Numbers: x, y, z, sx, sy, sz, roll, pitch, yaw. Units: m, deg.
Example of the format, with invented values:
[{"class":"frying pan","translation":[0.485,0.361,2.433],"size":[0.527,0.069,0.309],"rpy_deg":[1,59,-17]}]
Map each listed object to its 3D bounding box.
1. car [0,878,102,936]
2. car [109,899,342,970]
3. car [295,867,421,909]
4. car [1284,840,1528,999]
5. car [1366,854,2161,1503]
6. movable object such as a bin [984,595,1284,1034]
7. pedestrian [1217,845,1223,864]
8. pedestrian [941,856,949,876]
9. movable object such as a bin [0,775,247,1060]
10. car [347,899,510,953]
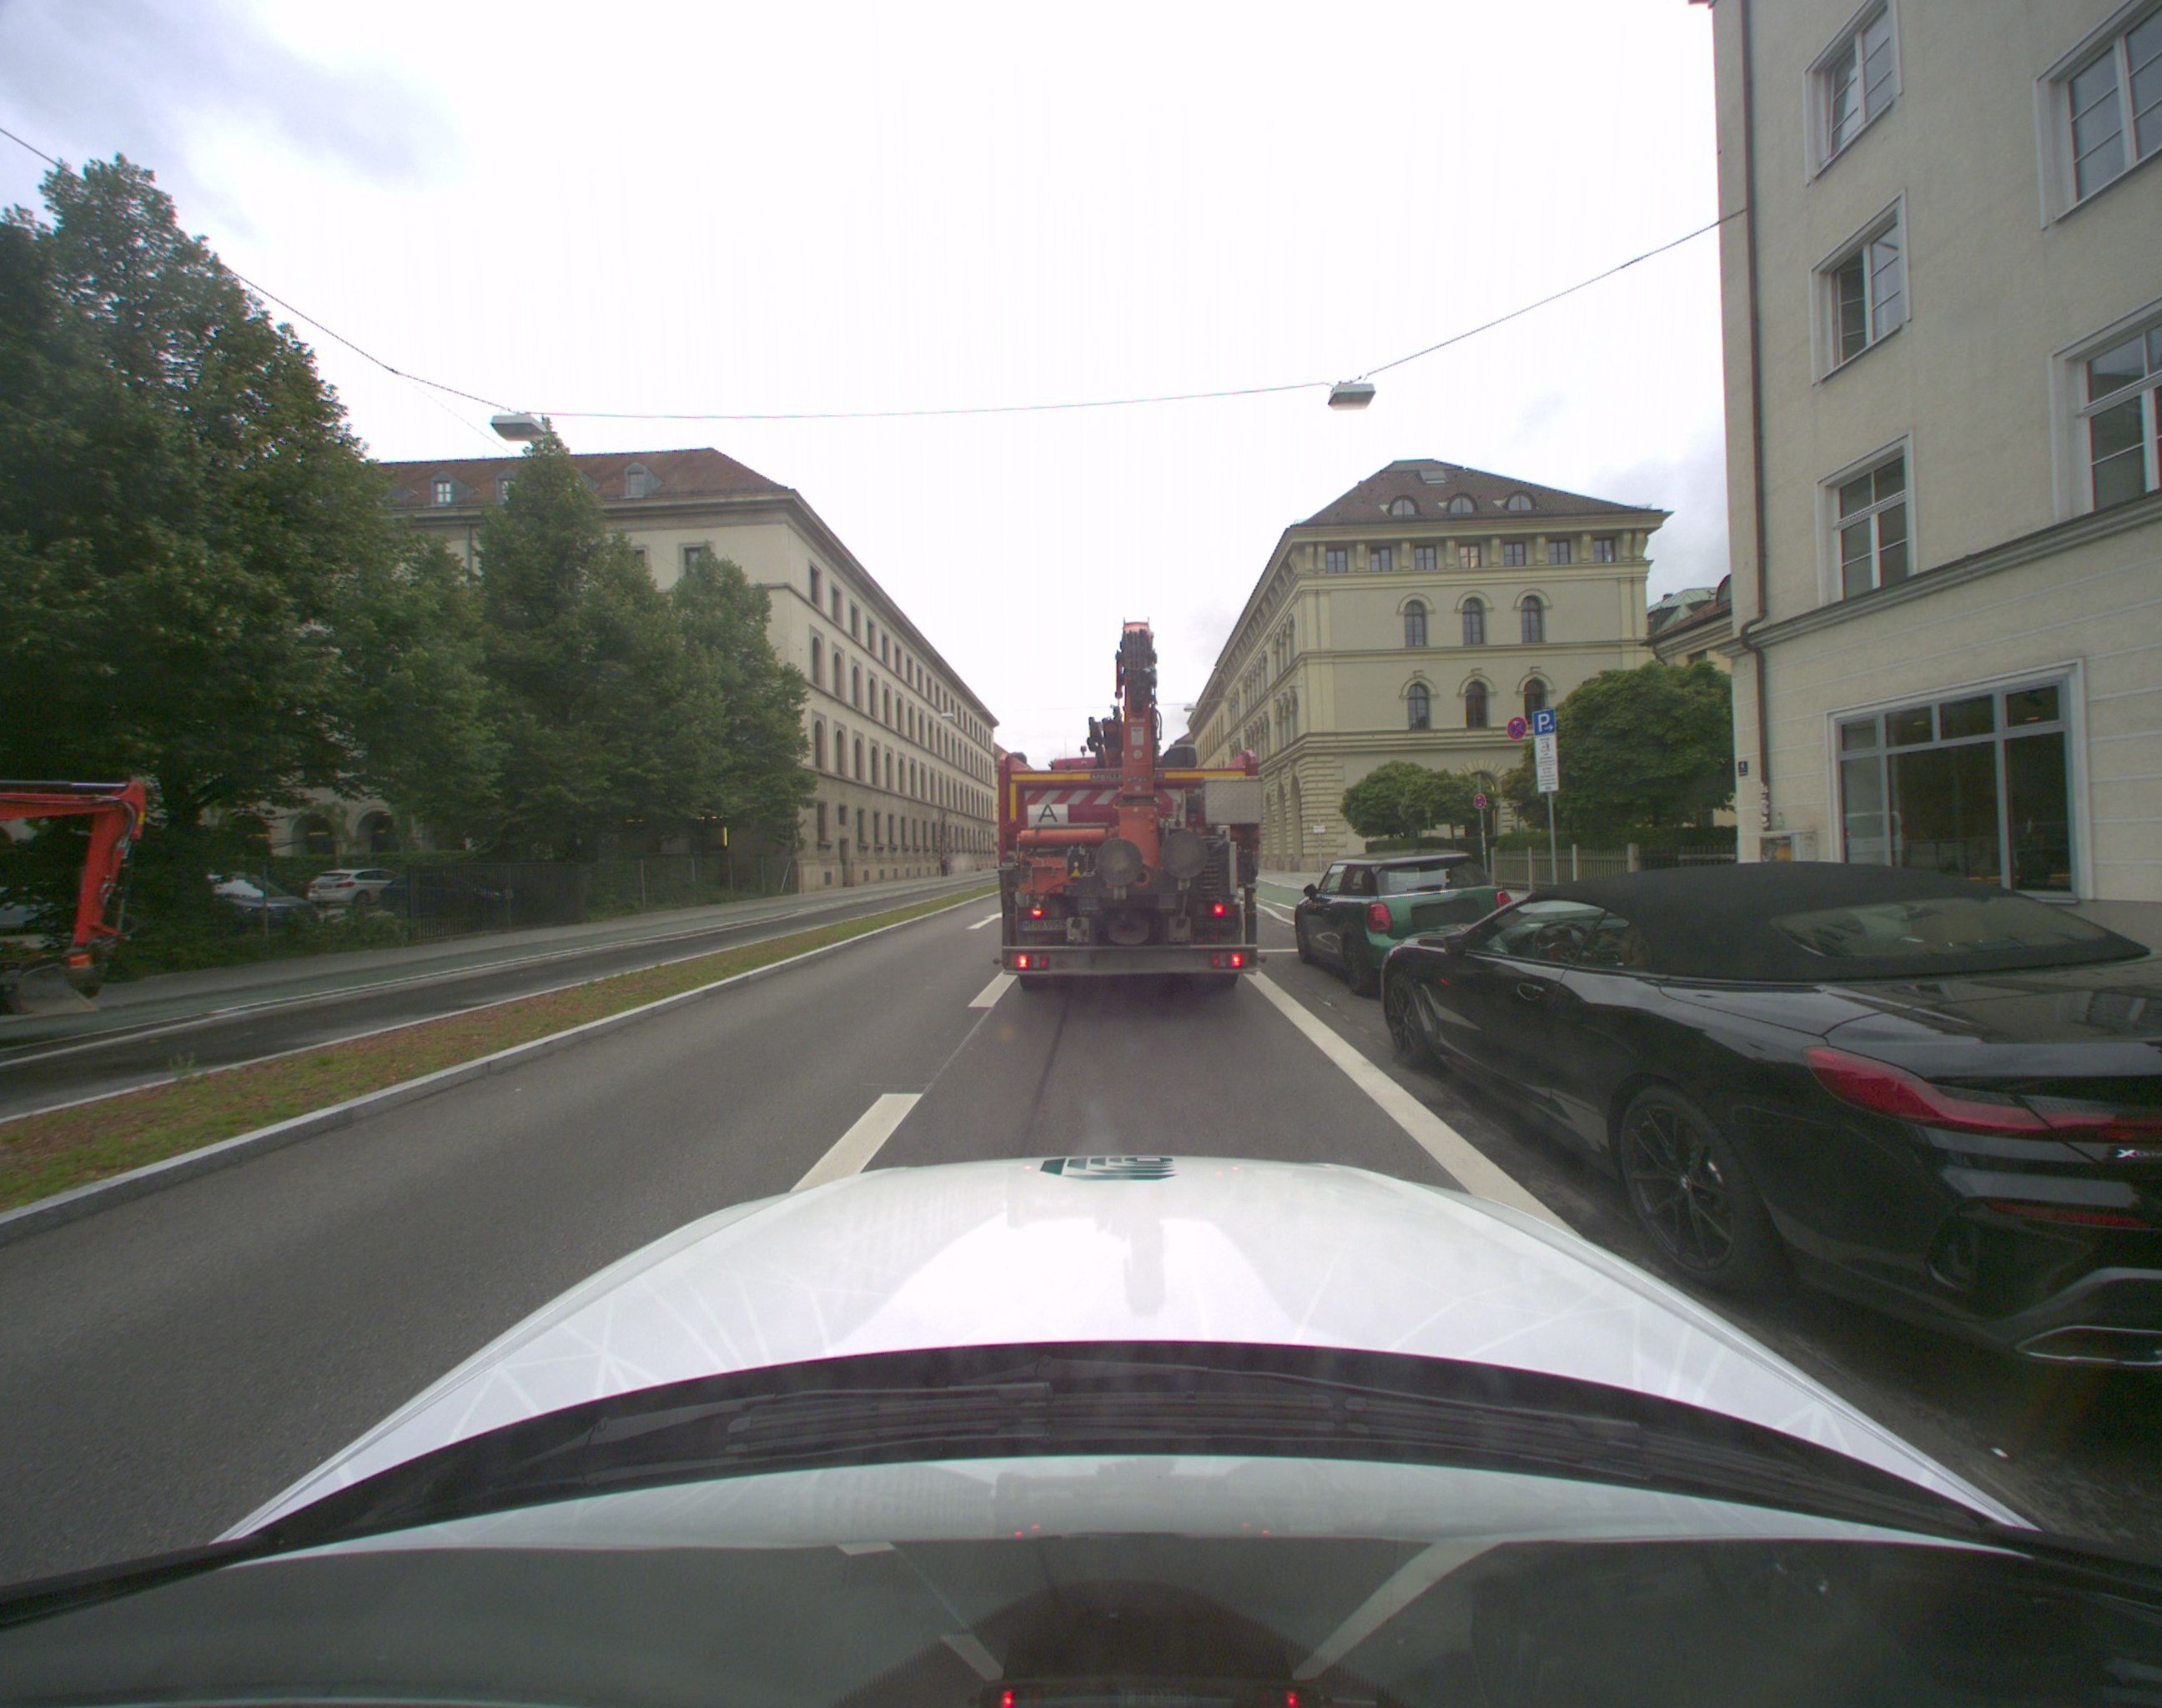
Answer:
[{"class":"car","translation":[-31.375,1.562,23.199],"size":[1.824,1.545,4.178],"rpy_deg":[-1,0,1]},{"class":"car","translation":[-21.579,2.003,20.676],"size":[3.914,1.545,1.836],"rpy_deg":[-1,0,0]},{"class":"car","translation":[-30.841,1.399,34.911],"size":[1.824,1.545,3.941],"rpy_deg":[-1,0,1]},{"class":"car","translation":[3.599,0.636,9.669],"size":[1.604,1.495,3.426],"rpy_deg":[-2,0,2]},{"class":"car","translation":[2.941,0.722,4.004],"size":[1.673,1.386,4.429],"rpy_deg":[-2,0,2]},{"class":"movable object such as a bin","translation":[0.516,-0.333,9.727],"size":[2.414,3.611,5.853],"rpy_deg":[-1,0,1]},{"class":"pedestrian","translation":[13.131,0.033,76.985],"size":[0.444,1.836,0.556],"rpy_deg":[-2,0,3]},{"class":"pedestrian","translation":[-12.370,1.092,74.284],"size":[0.586,1.831,0.499],"rpy_deg":[-1,0,1]},{"class":"movable object such as a bin","translation":[-11.013,0.620,7.379],"size":[1.987,2.641,4.666],"rpy_deg":[-2,0,1]},{"class":"car","translation":[-21.835,2.388,27.365],"size":[3.914,1.545,1.836],"rpy_deg":[-1,0,0]}]
